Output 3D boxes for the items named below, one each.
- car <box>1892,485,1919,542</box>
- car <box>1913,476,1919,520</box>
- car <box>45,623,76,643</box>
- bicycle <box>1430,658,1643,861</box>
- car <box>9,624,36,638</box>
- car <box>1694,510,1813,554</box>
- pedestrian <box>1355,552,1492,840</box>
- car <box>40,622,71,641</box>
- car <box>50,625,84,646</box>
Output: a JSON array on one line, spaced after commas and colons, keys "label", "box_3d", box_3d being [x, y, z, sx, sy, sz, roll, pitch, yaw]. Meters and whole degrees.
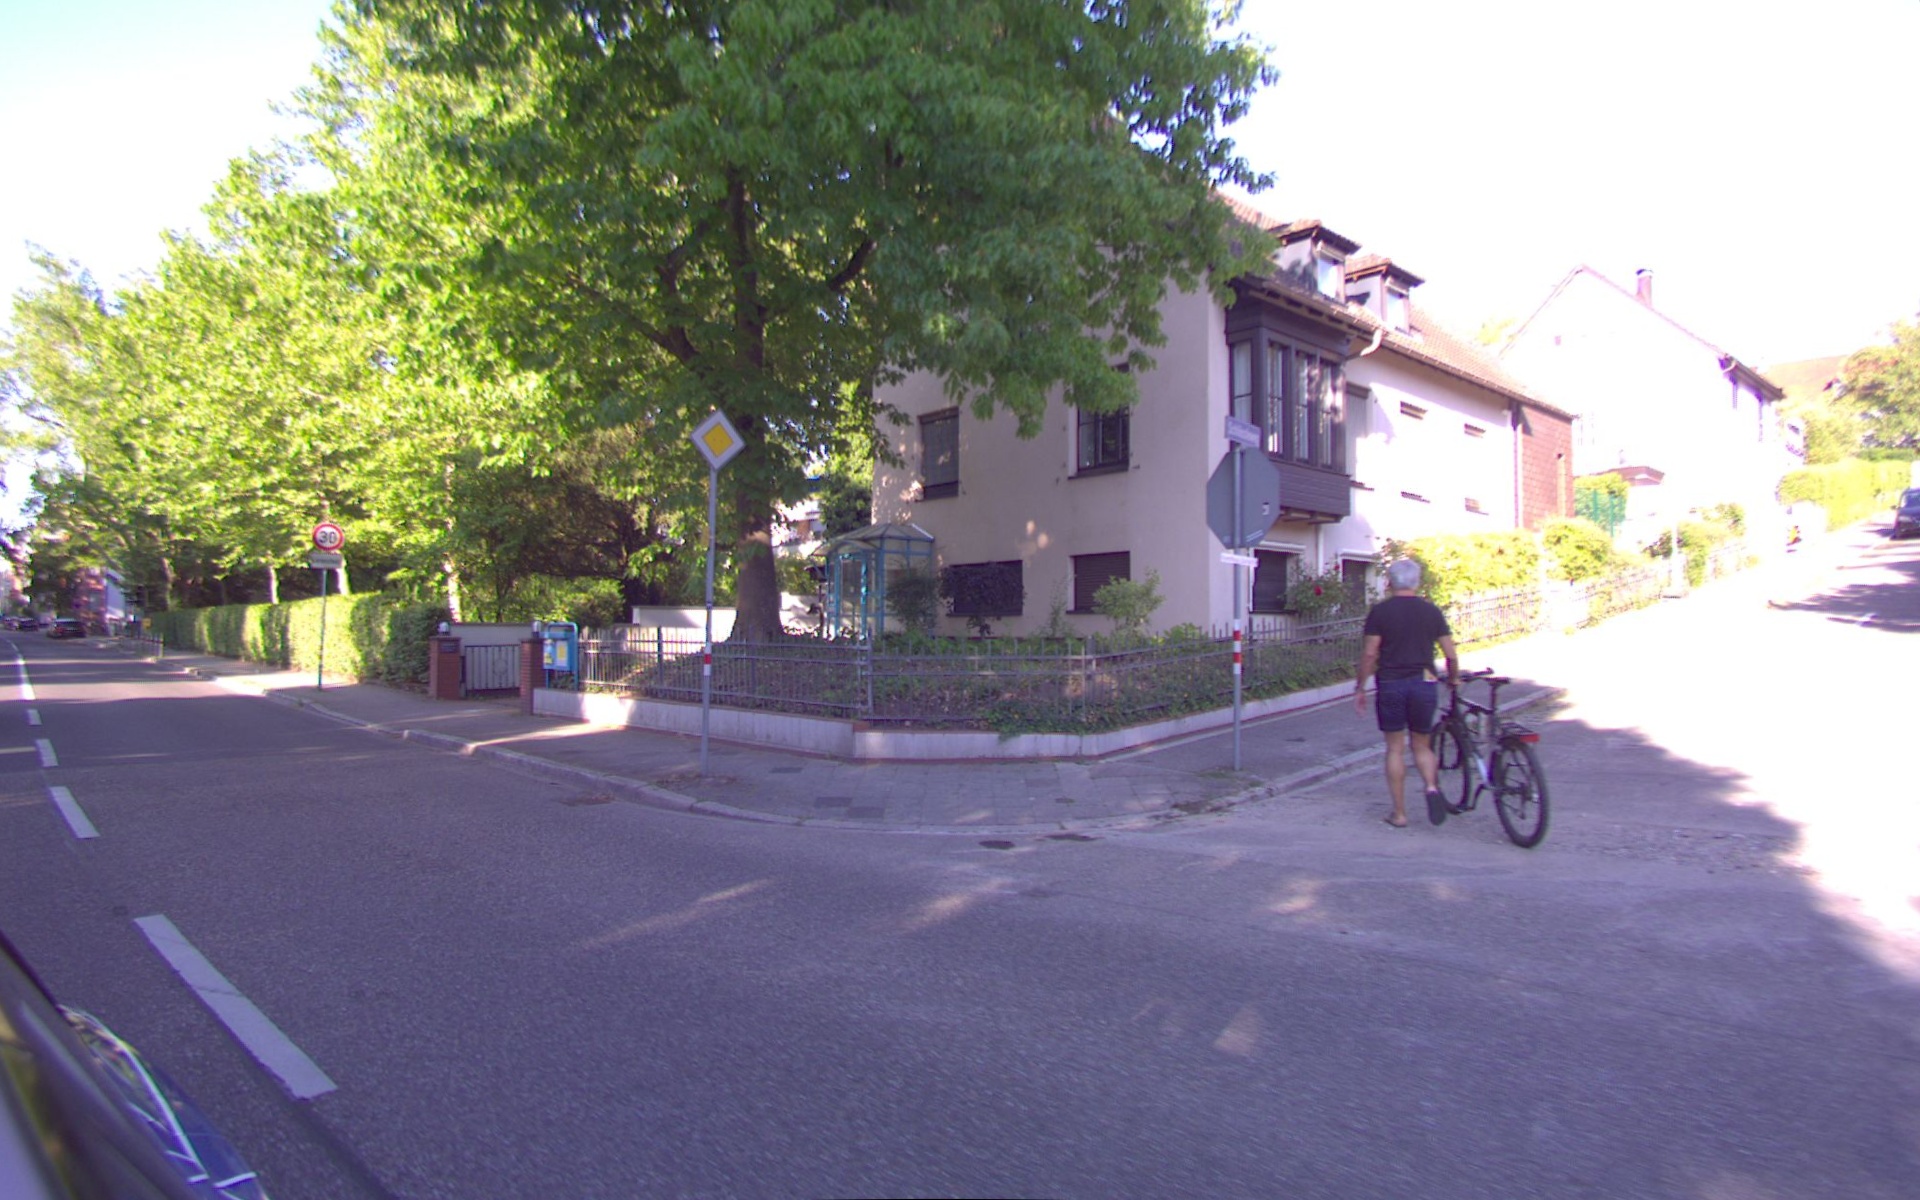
[{"label": "car", "box_3d": [33.007, -3.006, 34.334, 2.000, 1.717, 3.946, -1, 5, 43]}, {"label": "car", "box_3d": [42.215, -4.375, 43.166, 3.940, 1.719, 2.002, -1, 0, -43]}, {"label": "car", "box_3d": [-71.231, 2.582, 80.128, 3.323, 1.558, 1.605, -2, -2, 45]}, {"label": "bicycle", "box_3d": [3.699, 0.966, 6.666, 0.555, 1.051, 1.813, -3, -1, 9]}, {"label": "car", "box_3d": [-107.627, 3.558, 116.145, 3.934, 1.393, 1.800, 0, -4, 42]}, {"label": "car", "box_3d": [26.063, -2.211, 33.279, 1.460, 1.231, 2.892, -1, 0, -44]}, {"label": "pedestrian", "box_3d": [3.166, 0.623, 6.988, 0.548, 1.840, 0.941, -2, -1, 8]}, {"label": "car", "box_3d": [-74.765, 2.589, 83.639, 3.560, 1.445, 1.605, -1, 0, 44]}, {"label": "car", "box_3d": [-67.252, 2.647, 76.225, 3.618, 1.445, 1.666, -2, 1, 45]}]
